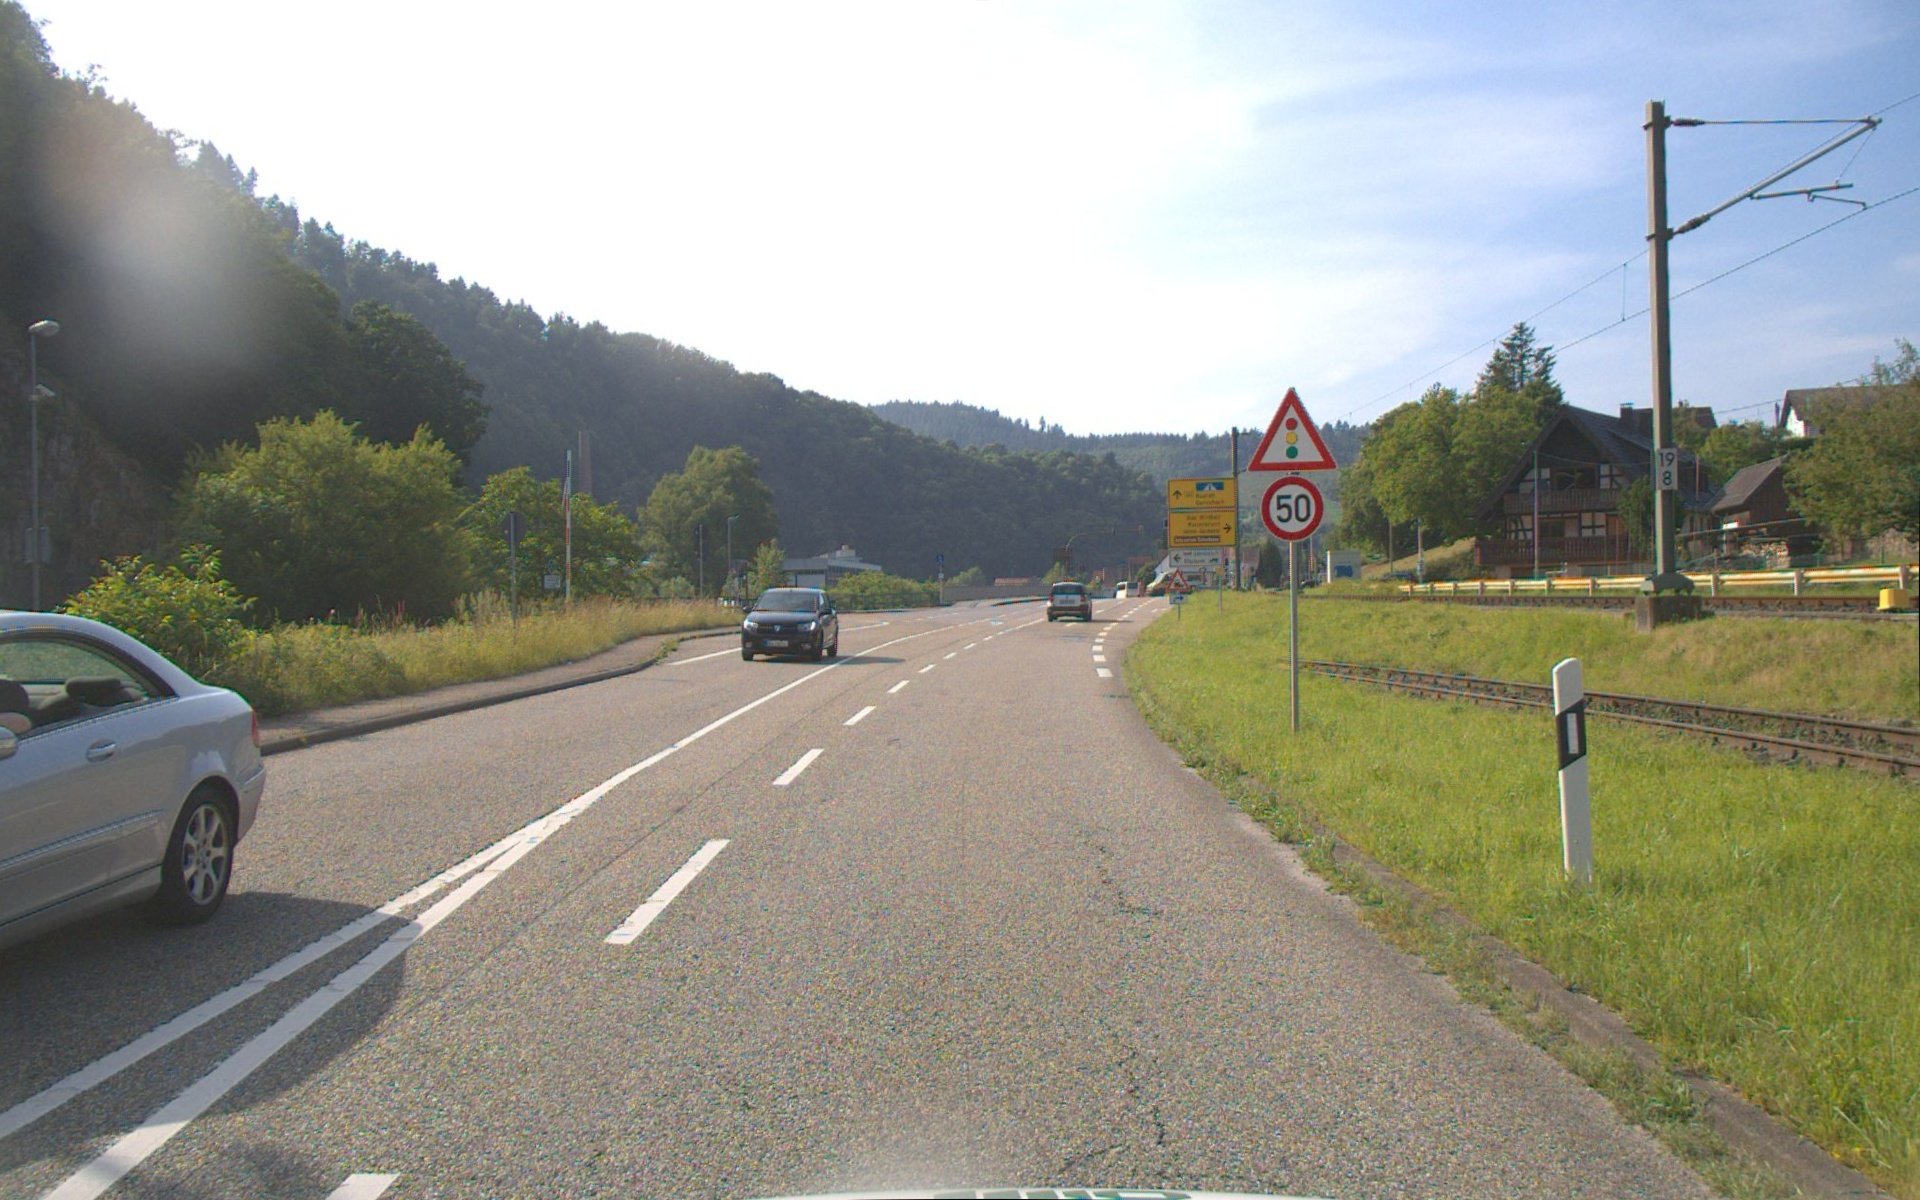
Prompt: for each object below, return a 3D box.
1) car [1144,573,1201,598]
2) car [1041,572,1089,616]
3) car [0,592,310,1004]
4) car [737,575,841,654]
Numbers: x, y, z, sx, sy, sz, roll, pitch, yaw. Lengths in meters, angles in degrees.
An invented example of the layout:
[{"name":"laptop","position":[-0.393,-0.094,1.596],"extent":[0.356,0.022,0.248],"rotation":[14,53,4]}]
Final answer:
[{"name":"car","position":[20.900,-1.433,162.748],"extent":[5.199,2.048,1.989],"rotation":[-4,0,-19]},{"name":"car","position":[4.546,-0.254,71.574],"extent":[1.952,1.753,3.992],"rotation":[-3,0,4]},{"name":"car","position":[-4.138,0.668,6.165],"extent":[1.742,1.371,4.509],"rotation":[1,0,-2]},{"name":"car","position":[-3.685,0.286,36.263],"extent":[1.809,1.612,4.316],"rotation":[0,1,0]}]
